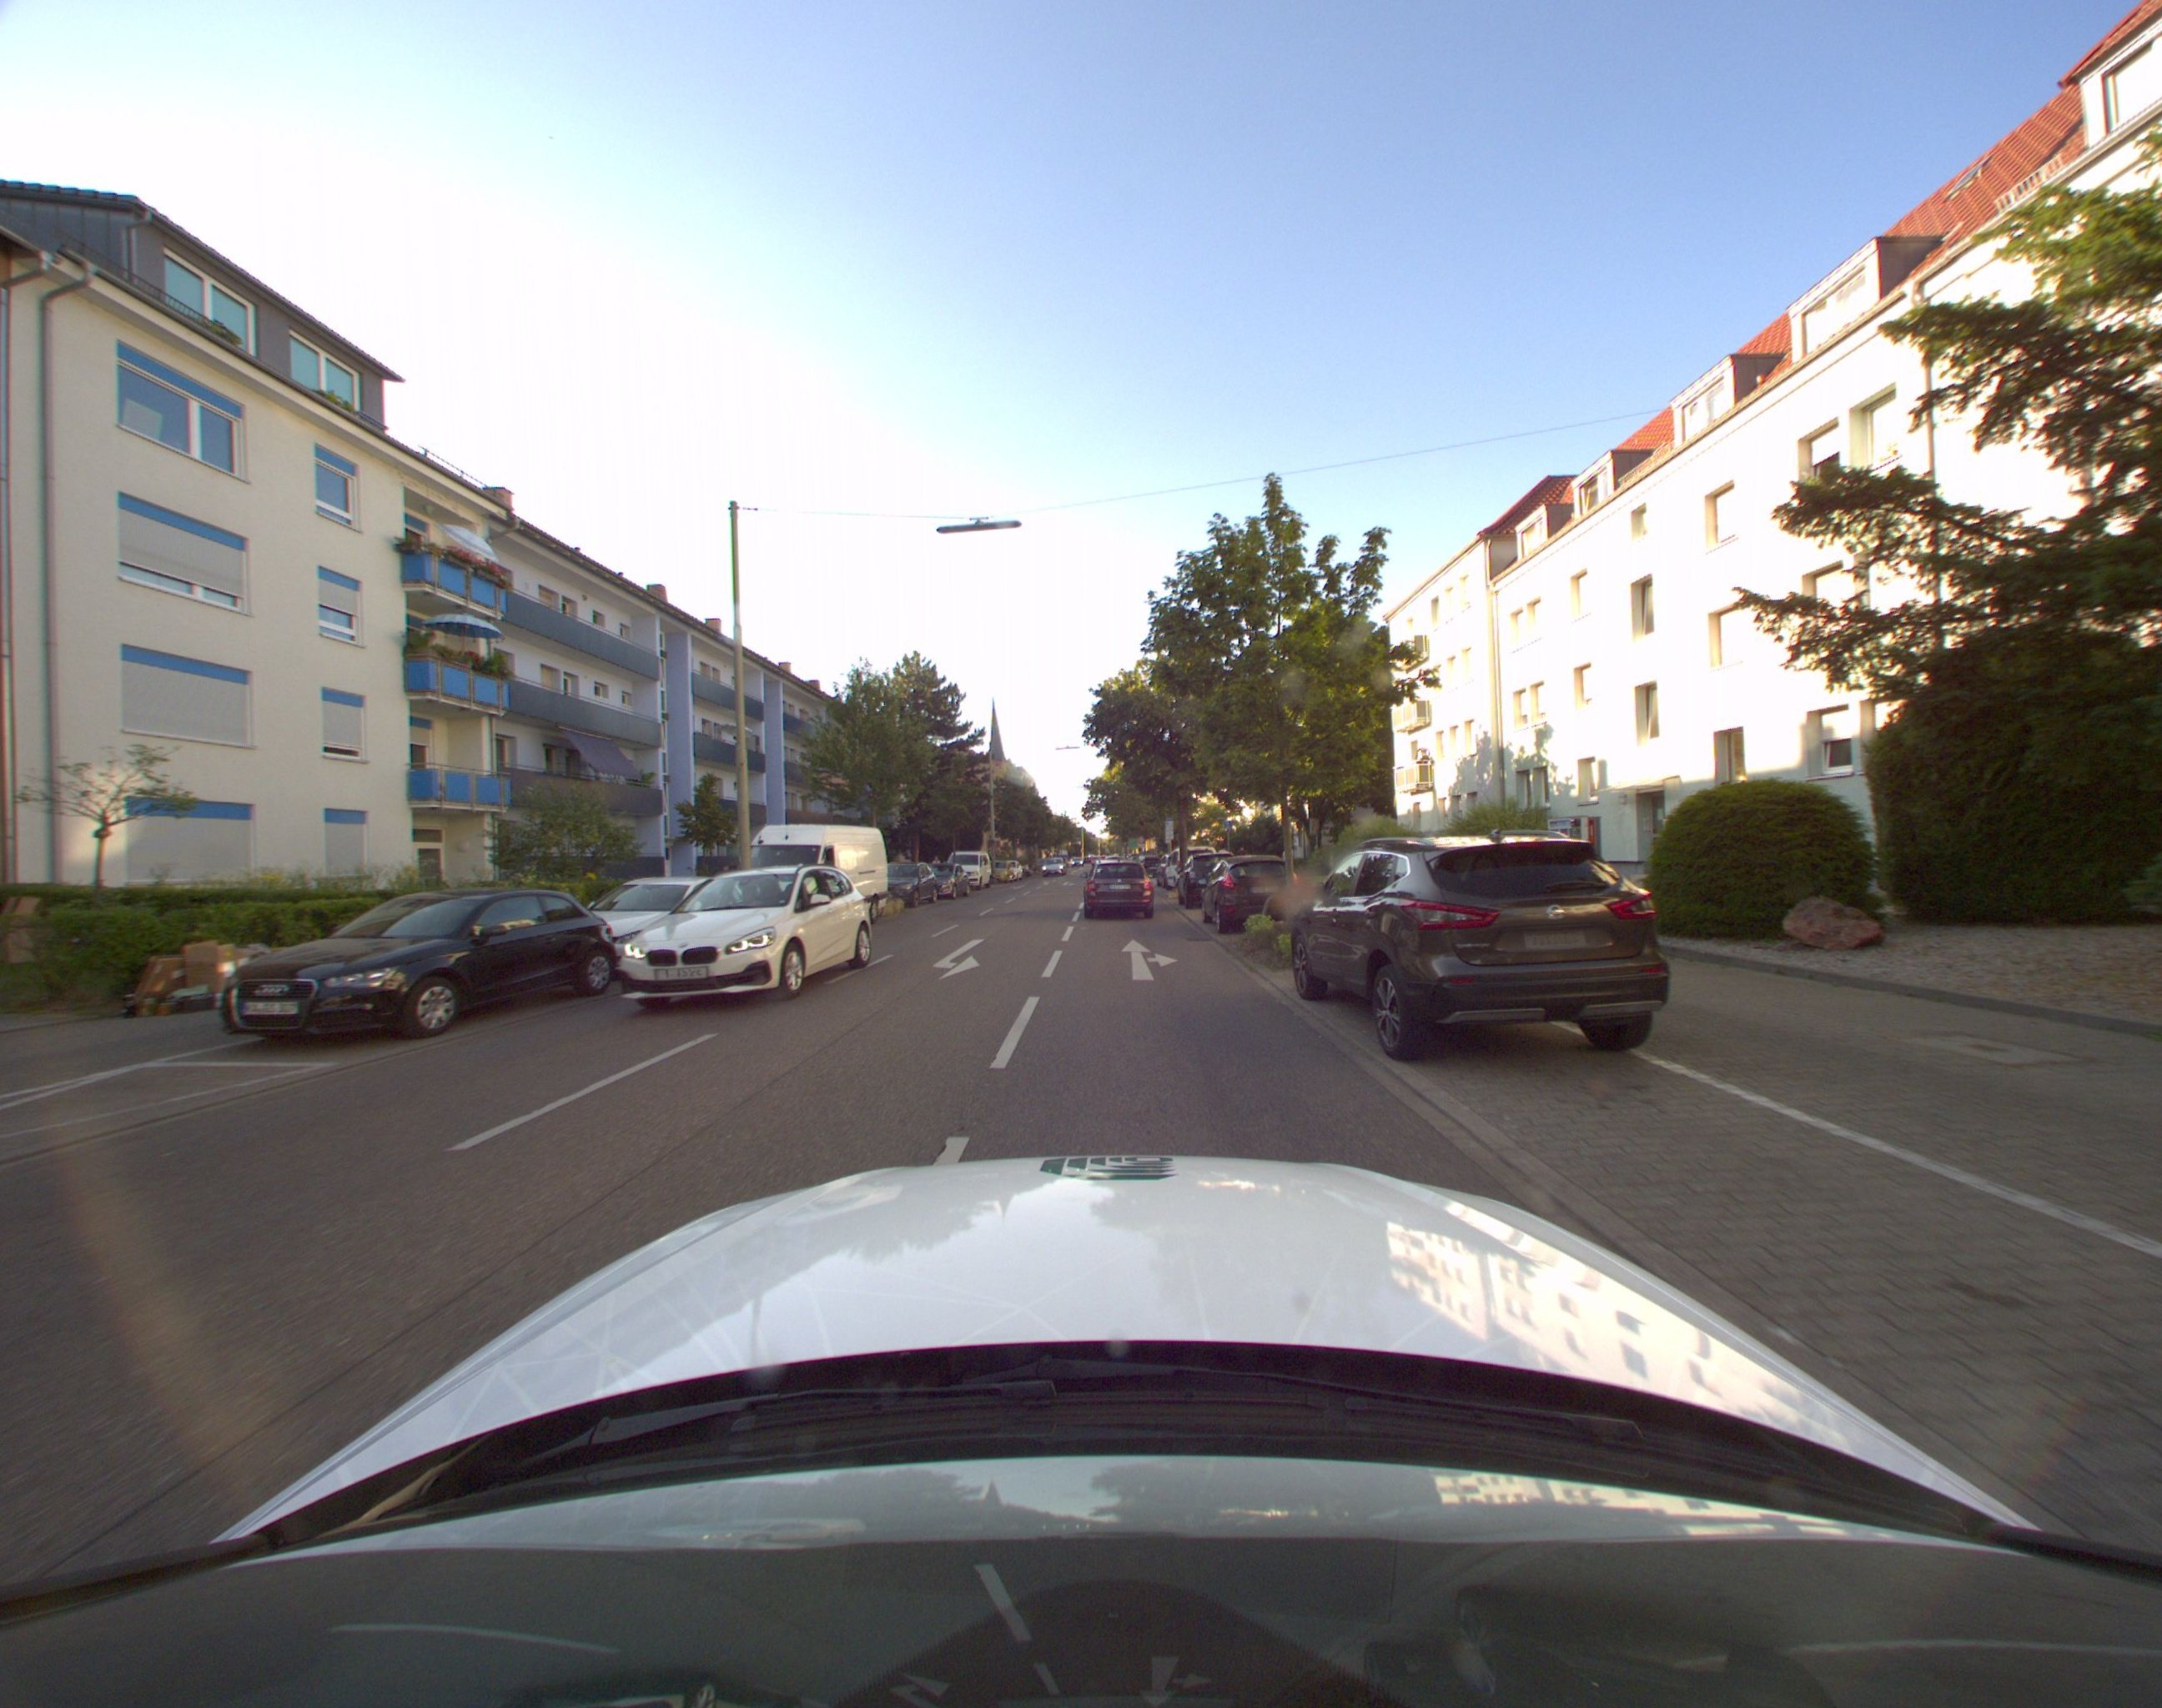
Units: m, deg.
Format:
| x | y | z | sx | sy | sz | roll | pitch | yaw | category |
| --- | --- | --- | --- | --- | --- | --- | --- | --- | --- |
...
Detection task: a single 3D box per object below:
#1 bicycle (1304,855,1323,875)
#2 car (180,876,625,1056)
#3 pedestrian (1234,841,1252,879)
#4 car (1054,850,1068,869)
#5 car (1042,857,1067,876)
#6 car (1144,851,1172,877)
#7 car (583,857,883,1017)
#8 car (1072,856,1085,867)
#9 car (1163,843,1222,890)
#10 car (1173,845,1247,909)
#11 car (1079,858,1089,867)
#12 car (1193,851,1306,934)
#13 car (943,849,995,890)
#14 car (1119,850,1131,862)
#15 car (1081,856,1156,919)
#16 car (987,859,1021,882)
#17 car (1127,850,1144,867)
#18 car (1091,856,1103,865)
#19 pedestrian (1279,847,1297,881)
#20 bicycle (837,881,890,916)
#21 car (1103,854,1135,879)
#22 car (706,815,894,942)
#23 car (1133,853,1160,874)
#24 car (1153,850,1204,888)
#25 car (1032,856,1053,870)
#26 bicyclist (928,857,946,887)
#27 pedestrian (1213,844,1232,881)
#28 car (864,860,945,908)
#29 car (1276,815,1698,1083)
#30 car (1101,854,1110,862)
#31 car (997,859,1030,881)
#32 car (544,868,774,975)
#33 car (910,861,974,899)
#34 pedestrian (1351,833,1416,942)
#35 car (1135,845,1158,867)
| x | y | z | sx | sy | sz | roll | pitch | yaw | category |
| --- | --- | --- | --- | --- | --- | --- | --- | --- | --- |
| 11.357 | 0.515 | 39.807 | 0.473 | 0.944 | 1.681 | -2 | 0 | 1 | bicycle |
| -7.056 | 1.032 | 9.082 | 1.605 | 1.473 | 3.816 | 0 | 0 | 3 | car |
| 8.250 | 0.289 | 41.532 | 0.793 | 1.861 | 0.954 | -3 | -1 | 13 | pedestrian |
| -3.083 | 0.856 | 128.180 | 1.984 | 2.781 | 5.505 | 0 | 0 | 1 | car |
| -2.194 | 1.018 | 68.452 | 1.774 | 1.494 | 3.973 | -3 | 0 | 2 | car |
| 5.280 | 0.674 | 56.317 | 1.746 | 1.686 | 4.256 | 0 | 0 | 4 | car |
| -4.168 | 0.874 | 10.661 | 1.872 | 1.543 | 4.269 | -3 | 0 | 2 | car |
| -0.419 | 1.121 | 125.000 | 1.733 | 1.479 | 4.311 | -5 | 0 | 1 | car |
| 4.507 | 0.488 | 33.512 | 1.794 | 1.808 | 4.423 | 0 | 0 | 0 | car |
| 3.755 | 0.625 | 24.339 | 1.747 | 1.662 | 4.256 | -3 | 0 | 4 | car |
| 0.603 | 1.822 | 169.726 | 1.989 | 1.750 | 3.995 | -2 | 0 | -3 | car |
| 3.398 | 0.717 | 17.095 | 1.607 | 1.466 | 3.960 | -3 | 0 | 2 | car |
| -5.907 | 0.784 | 43.493 | 1.862 | 2.031 | 5.302 | -1 | 0 | 1 | car |
| 6.584 | 0.322 | 121.088 | 1.747 | 1.806 | 4.002 | 0 | 0 | 2 | car |
| 1.006 | 0.797 | 21.187 | 1.746 | 1.492 | 4.004 | 0 | 0 | 4 | car |
| -5.070 | 1.061 | 53.803 | 1.611 | 1.480 | 3.876 | 0 | 0 | 4 | car |
| 5.726 | 0.480 | 85.317 | 1.746 | 1.715 | 4.004 | 0 | 0 | 4 | car |
| 2.594 | 1.037 | 131.858 | 1.776 | 1.480 | 3.969 | 0 | 0 | -1 | car |
| 10.922 | 0.510 | 42.930 | 0.793 | 1.721 | 0.746 | -3 | -1 | 10 | pedestrian |
| -6.489 | 1.319 | 24.303 | 1.463 | 1.014 | 0.441 | -1 | 0 | 9 | bicycle |
| 2.399 | 0.817 | 52.163 | 1.885 | 1.506 | 3.790 | 2 | -1 | 1 | car |
| -6.607 | 0.511 | 20.341 | 1.986 | 2.616 | 7.108 | -1 | 0 | 2 | car |
| 4.987 | 0.733 | 62.505 | 1.748 | 1.557 | 4.104 | 0 | -1 | 1 | car |
| 4.518 | 0.670 | 38.271 | 1.749 | 1.557 | 4.251 | -3 | 0 | 0 | car |
| -4.085 | 0.927 | 86.920 | 1.773 | 1.480 | 4.037 | 0 | 0 | 4 | car |
| -7.836 | 0.948 | 44.280 | 0.600 | 1.593 | 0.942 | -2 | 0 | 9 | bicyclist |
| 7.368 | 0.445 | 42.301 | 0.746 | 1.861 | 1.068 | -2 | 0 | 1 | pedestrian |
| -6.336 | 1.027 | 29.726 | 1.665 | 1.543 | 4.477 | -2 | 0 | 4 | car |
| 3.059 | 0.604 | 7.207 | 1.712 | 1.601 | 4.097 | -3 | 0 | 1 | car |
| 5.434 | 0.884 | 178.481 | 1.641 | 1.599 | 3.645 | -2 | 0 | -3 | car |
| -4.843 | 1.112 | 58.909 | 1.773 | 1.494 | 3.975 | 0 | 0 | 4 | car |
| -6.999 | 1.023 | 14.041 | 1.700 | 1.492 | 4.060 | 1 | 0 | 2 | car |
| -5.866 | 1.064 | 34.800 | 1.685 | 1.483 | 4.148 | -2 | 0 | 4 | car |
| 4.888 | 0.537 | 13.203 | 0.784 | 1.700 | 0.809 | -1 | -1 | 6 | pedestrian |
| 5.835 | 0.193 | 72.765 | 1.908 | 1.860 | 5.638 | -2 | 0 | 4 | car |
